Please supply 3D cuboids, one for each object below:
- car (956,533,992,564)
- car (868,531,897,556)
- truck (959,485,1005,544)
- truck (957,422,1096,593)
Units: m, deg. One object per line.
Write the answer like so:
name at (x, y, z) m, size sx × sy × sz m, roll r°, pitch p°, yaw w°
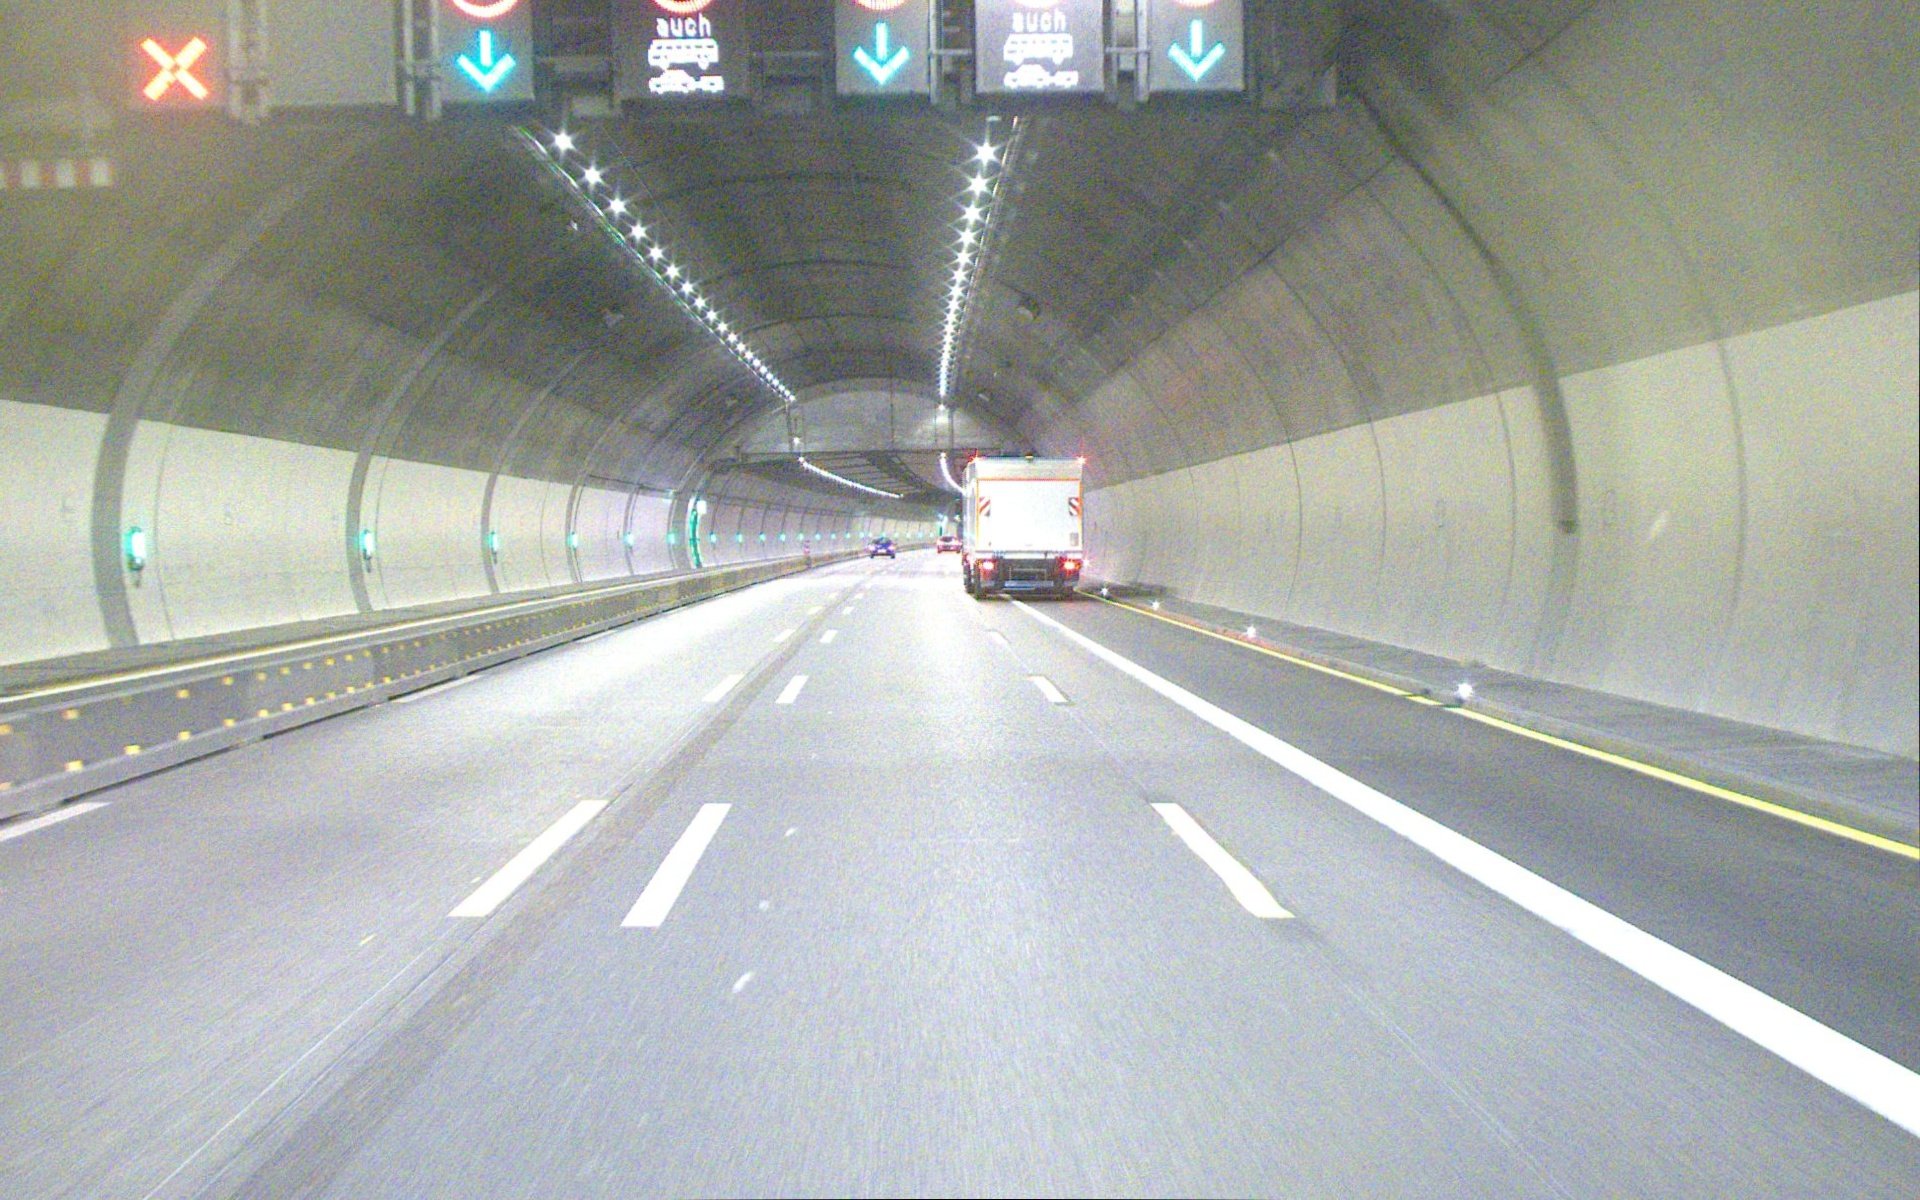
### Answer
car at (0.714, -2.610, 174.594) m, size 1.739 × 1.456 × 3.960 m, roll -2°, pitch 2°, yaw 1°
car at (-5.009, -3.676, 222.783) m, size 1.758 × 1.456 × 4.119 m, roll -2°, pitch 2°, yaw 0°
truck at (1.567, -5.943, 240.618) m, size 3.066 × 3.904 × 10.368 m, roll -2°, pitch 1°, yaw 1°
truck at (1.547, -2.209, 85.631) m, size 3.092 × 3.904 × 10.368 m, roll -2°, pitch 1°, yaw 0°
